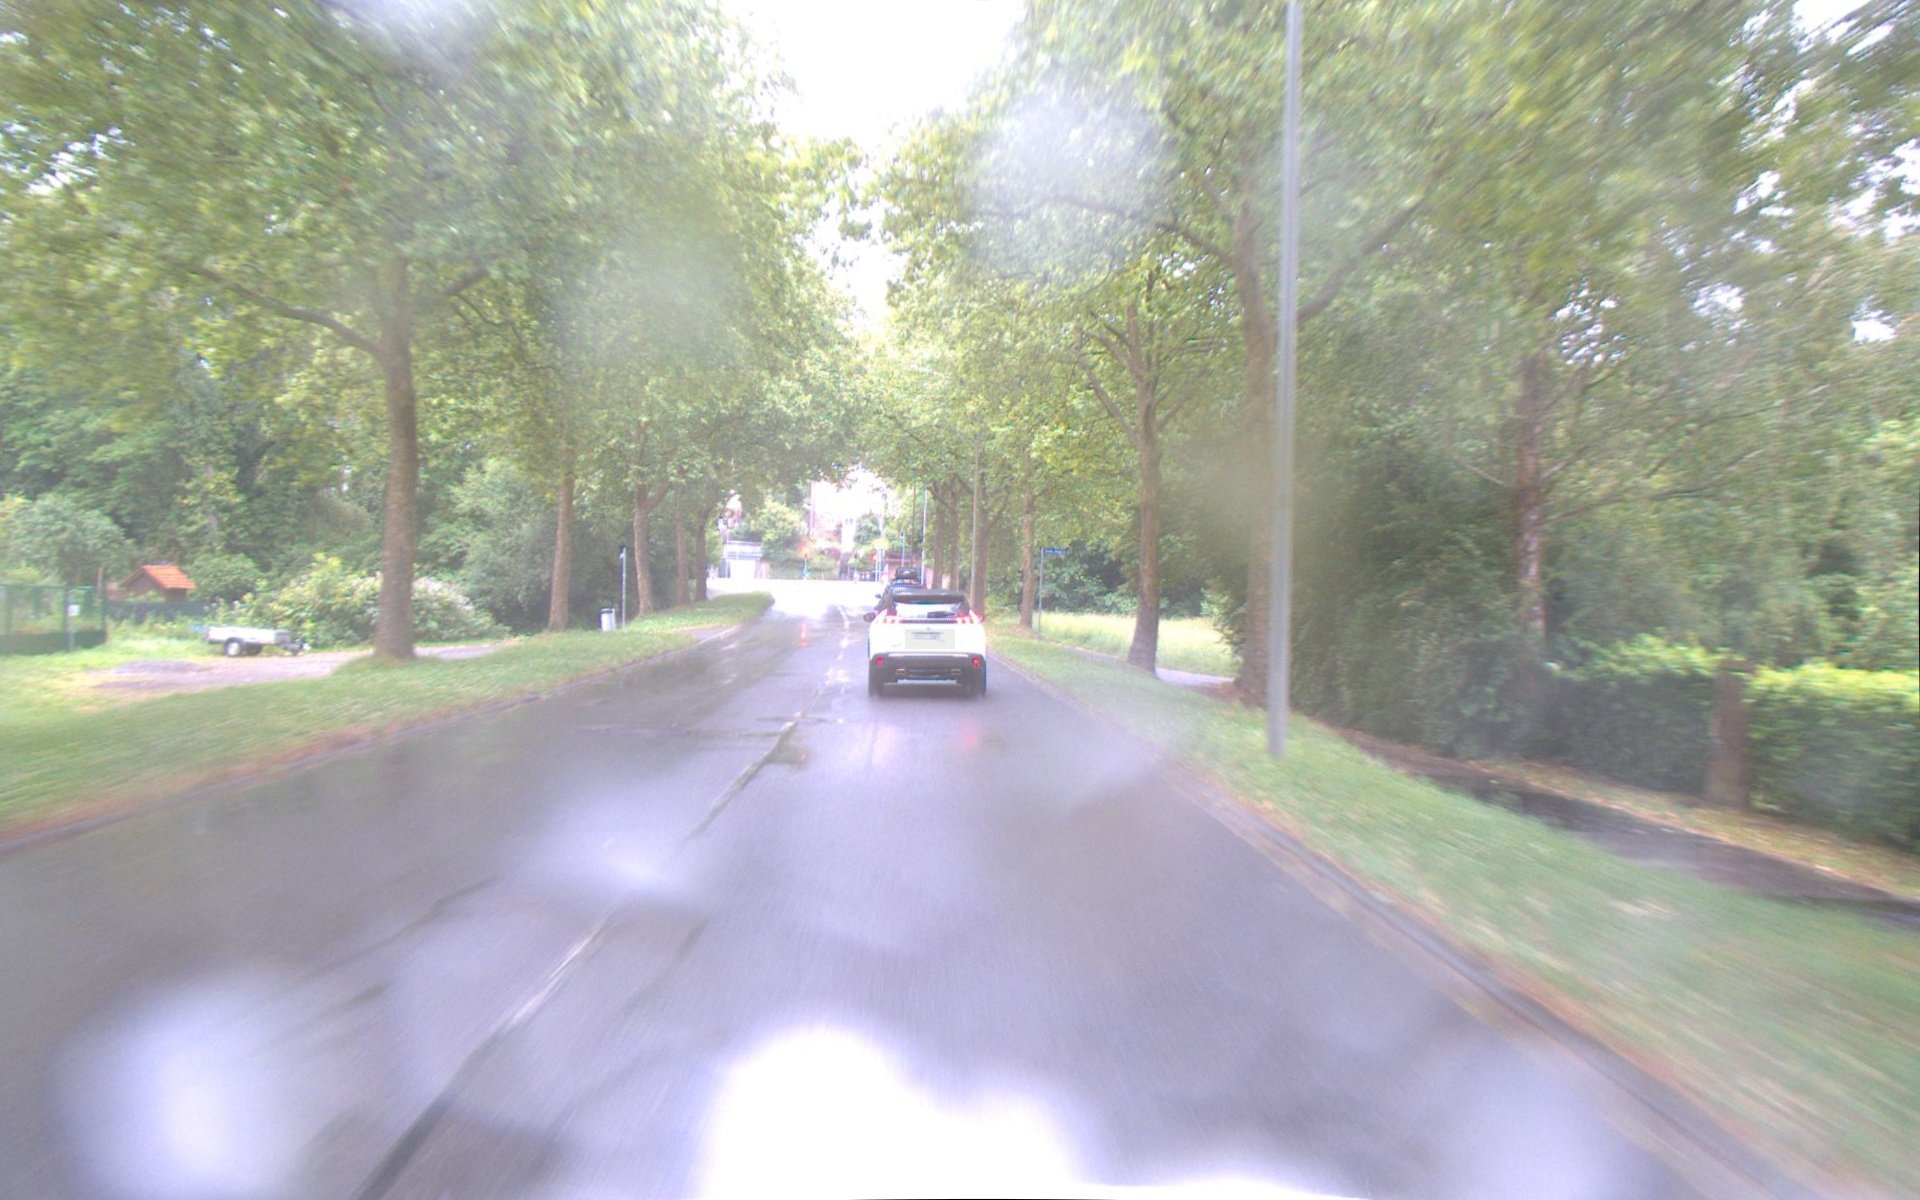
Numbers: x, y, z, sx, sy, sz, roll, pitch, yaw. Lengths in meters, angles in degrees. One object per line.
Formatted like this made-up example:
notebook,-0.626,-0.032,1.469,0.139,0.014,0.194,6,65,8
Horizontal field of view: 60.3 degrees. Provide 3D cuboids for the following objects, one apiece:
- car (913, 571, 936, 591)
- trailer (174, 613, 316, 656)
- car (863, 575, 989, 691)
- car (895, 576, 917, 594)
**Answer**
car,-2.997,-1.608,140.206,1.789,1.624,3.654,2,0,1
trailer,-21.185,1.018,49.141,3.487,1.199,1.819,0,1,-9
car,-0.494,0.445,25.383,1.757,1.606,3.844,2,1,0
car,-4.888,-1.359,149.858,1.789,1.624,3.654,2,0,1
